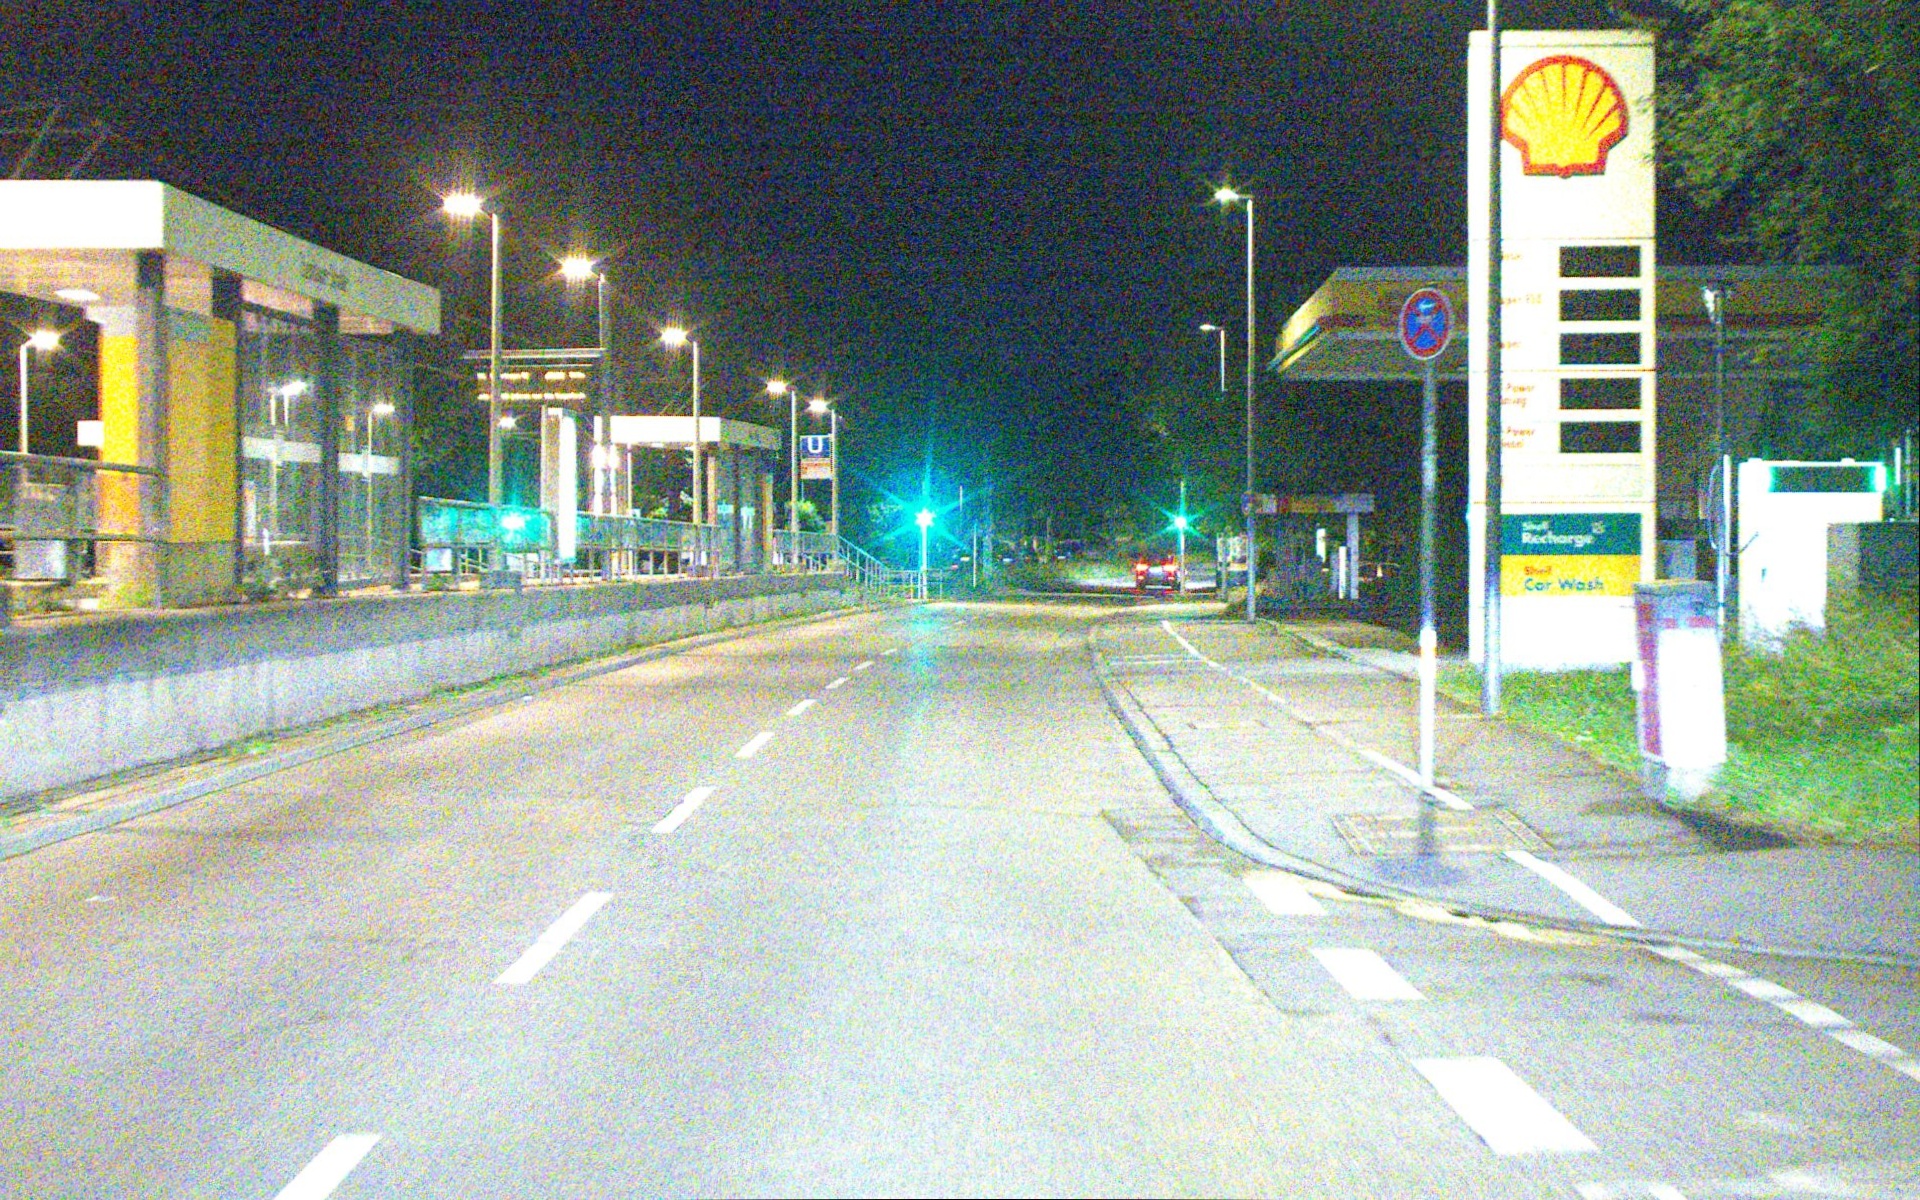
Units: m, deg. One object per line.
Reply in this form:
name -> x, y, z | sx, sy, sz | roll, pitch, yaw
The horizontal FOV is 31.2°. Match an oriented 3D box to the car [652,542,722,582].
car -> -10.059, -1.417, 127.086 | 1.646, 1.335, 4.542 | -4, 1, 7

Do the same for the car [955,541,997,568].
car -> 0.959, -2.754, 208.291 | 1.994, 1.622, 4.676 | 0, 1, 7

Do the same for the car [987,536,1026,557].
car -> 3.106, -3.552, 227.752 | 1.994, 1.333, 5.431 | 0, 1, 7

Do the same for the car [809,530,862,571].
car -> -5.774, -2.315, 160.292 | 1.857, 1.897, 4.879 | 1, 1, 5

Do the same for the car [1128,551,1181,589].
car -> 8.556, -1.322, 150.932 | 2.162, 1.577, 4.013 | 1, 1, 5

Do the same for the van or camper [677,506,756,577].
van or camper -> -9.407, -2.283, 133.471 | 2.273, 2.638, 5.664 | -2, 1, 3

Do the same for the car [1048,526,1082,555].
car -> 7.874, -4.441, 257.858 | 2.092, 2.007, 3.999 | -4, 1, 7

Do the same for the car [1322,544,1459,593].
car -> 12.100, -0.891, 96.866 | 3.765, 1.349, 1.859 | 0, 1, 5
